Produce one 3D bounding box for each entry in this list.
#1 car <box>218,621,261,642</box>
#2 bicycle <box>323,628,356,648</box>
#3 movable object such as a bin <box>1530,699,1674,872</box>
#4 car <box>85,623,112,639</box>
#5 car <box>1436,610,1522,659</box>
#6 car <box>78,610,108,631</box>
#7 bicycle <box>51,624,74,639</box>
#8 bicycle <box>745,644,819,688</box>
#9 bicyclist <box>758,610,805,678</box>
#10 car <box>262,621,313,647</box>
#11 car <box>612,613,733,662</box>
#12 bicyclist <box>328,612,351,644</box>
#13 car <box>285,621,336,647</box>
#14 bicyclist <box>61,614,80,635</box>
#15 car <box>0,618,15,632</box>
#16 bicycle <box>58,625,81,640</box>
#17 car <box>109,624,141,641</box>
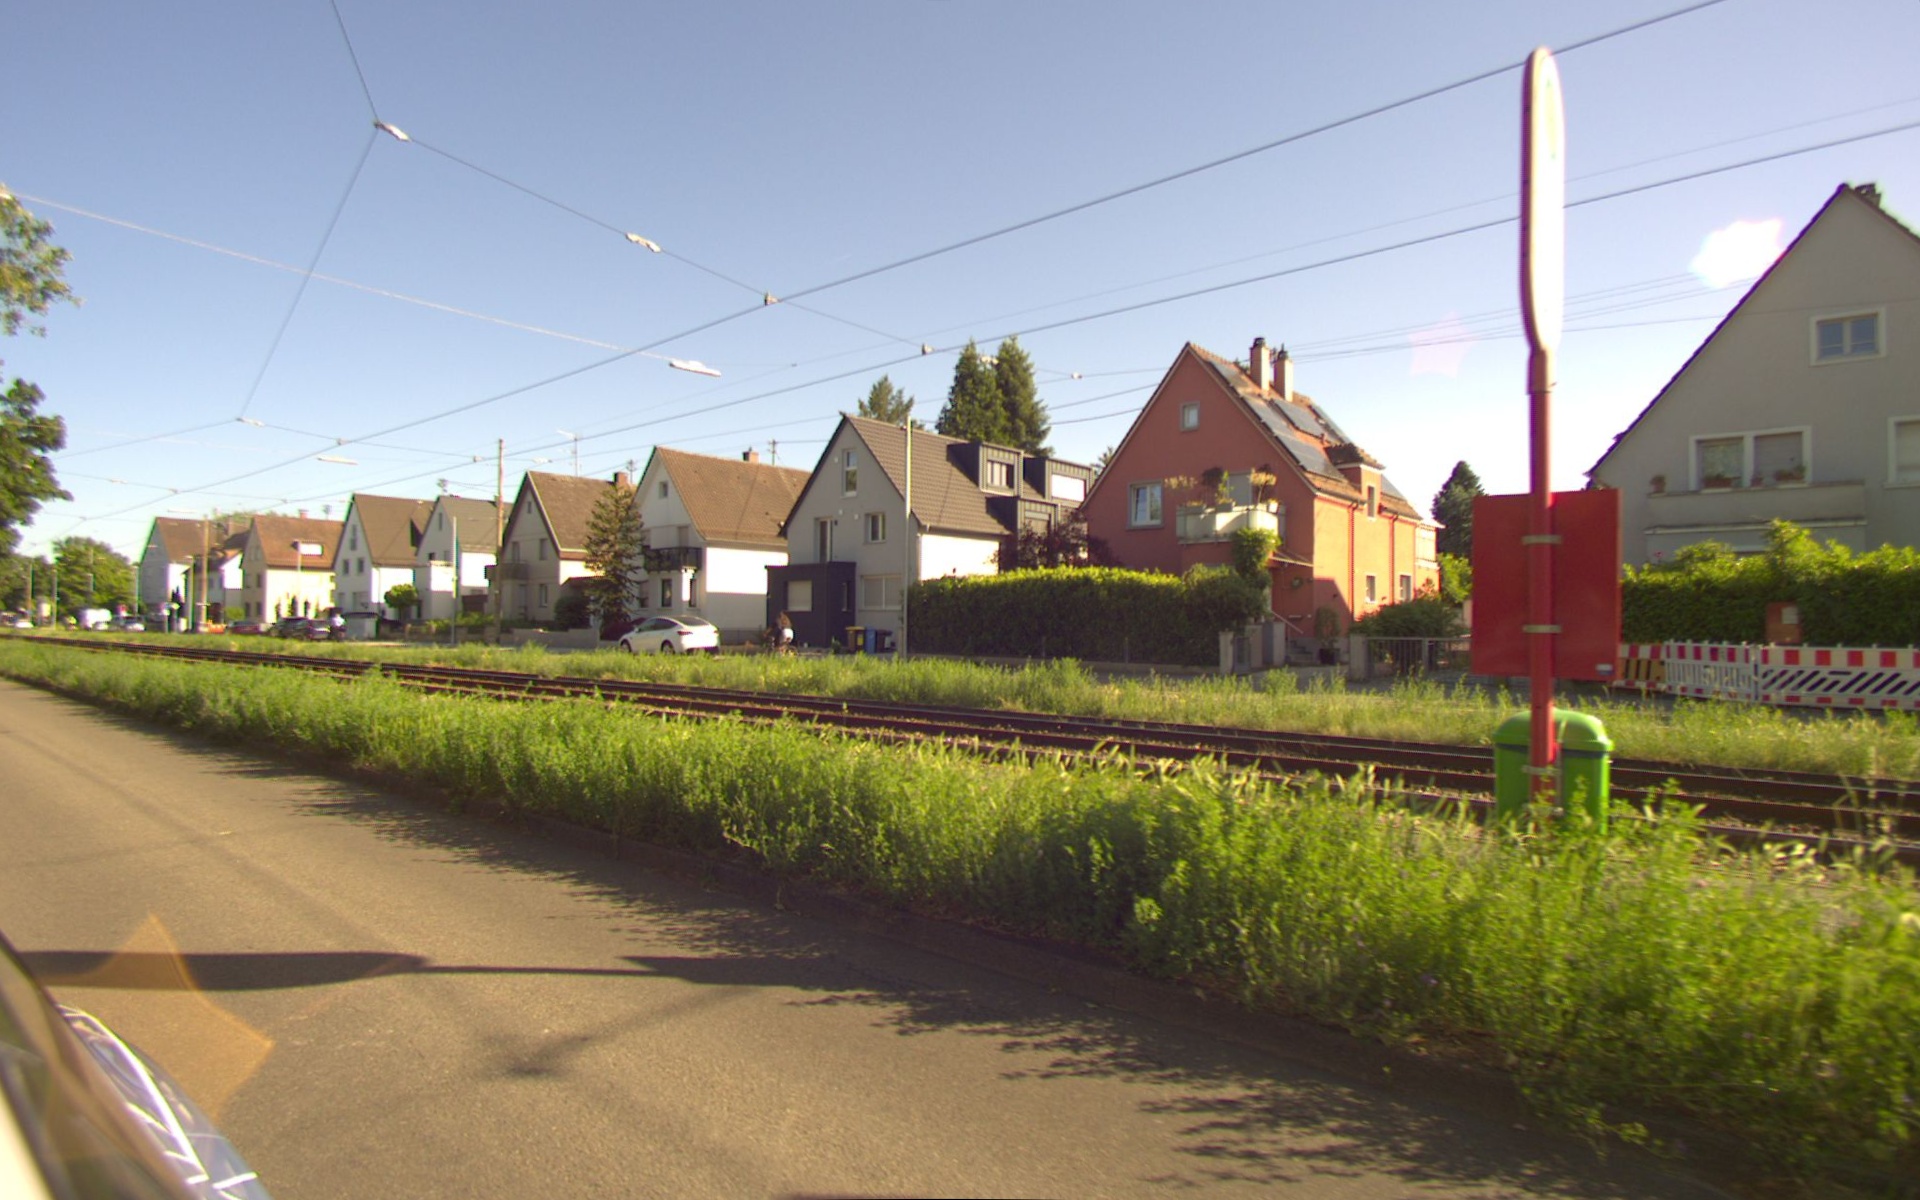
[{"bbox_3d":[-52.636,2.283,73.899,3.822,1.392,1.733,-1,0,41],"label":"car"},{"bbox_3d":[-32.807,1.992,53.503,2.308,0.958,0.843,-1,0,41],"label":"bicycle"},{"bbox_3d":[2.527,0.707,3.986,0.381,0.587,0.380,0,-1,-40],"label":"movable object such as a bin"},{"bbox_3d":[-91.627,3.281,107.620,4.001,1.517,1.767,-1,0,44],"label":"car"},{"bbox_3d":[18.863,1.201,36.709,1.998,1.630,3.947,-1,0,39],"label":"car"},{"bbox_3d":[-95.175,2.238,111.074,4.001,2.239,2.104,-1,-1,44],"label":"car"},{"bbox_3d":[-96.913,3.396,109.276,3.998,1.589,1.336,-1,0,41],"label":"bicycle"},{"bbox_3d":[-5.127,1.861,29.089,2.308,1.143,0.843,-1,-1,41],"label":"bicycle"},{"bbox_3d":[-5.114,1.239,29.056,1.071,1.901,0.843,-1,-1,41],"label":"bicyclist"},{"bbox_3d":[-43.462,2.161,65.375,4.010,1.609,1.779,-1,0,41],"label":"car"},{"bbox_3d":[-10.596,1.319,37.065,4.837,1.691,1.973,-1,0,41],"label":"car"},{"bbox_3d":[-32.782,1.458,53.466,0.836,1.687,0.843,-1,-1,40],"label":"bicyclist"},{"bbox_3d":[-40.238,2.102,62.694,3.754,1.501,1.716,-1,0,41],"label":"car"},{"bbox_3d":[-93.049,2.550,105.833,1.622,2.250,1.293,-1,-1,41],"label":"bicyclist"},{"bbox_3d":[-148.626,3.861,157.331,3.997,2.050,2.106,-1,0,41],"label":"car"},{"bbox_3d":[-93.137,3.369,105.858,3.998,1.506,1.336,-1,0,41],"label":"bicycle"},{"bbox_3d":[-81.210,3.151,98.426,3.998,1.517,1.768,-1,0,42],"label":"car"}]
